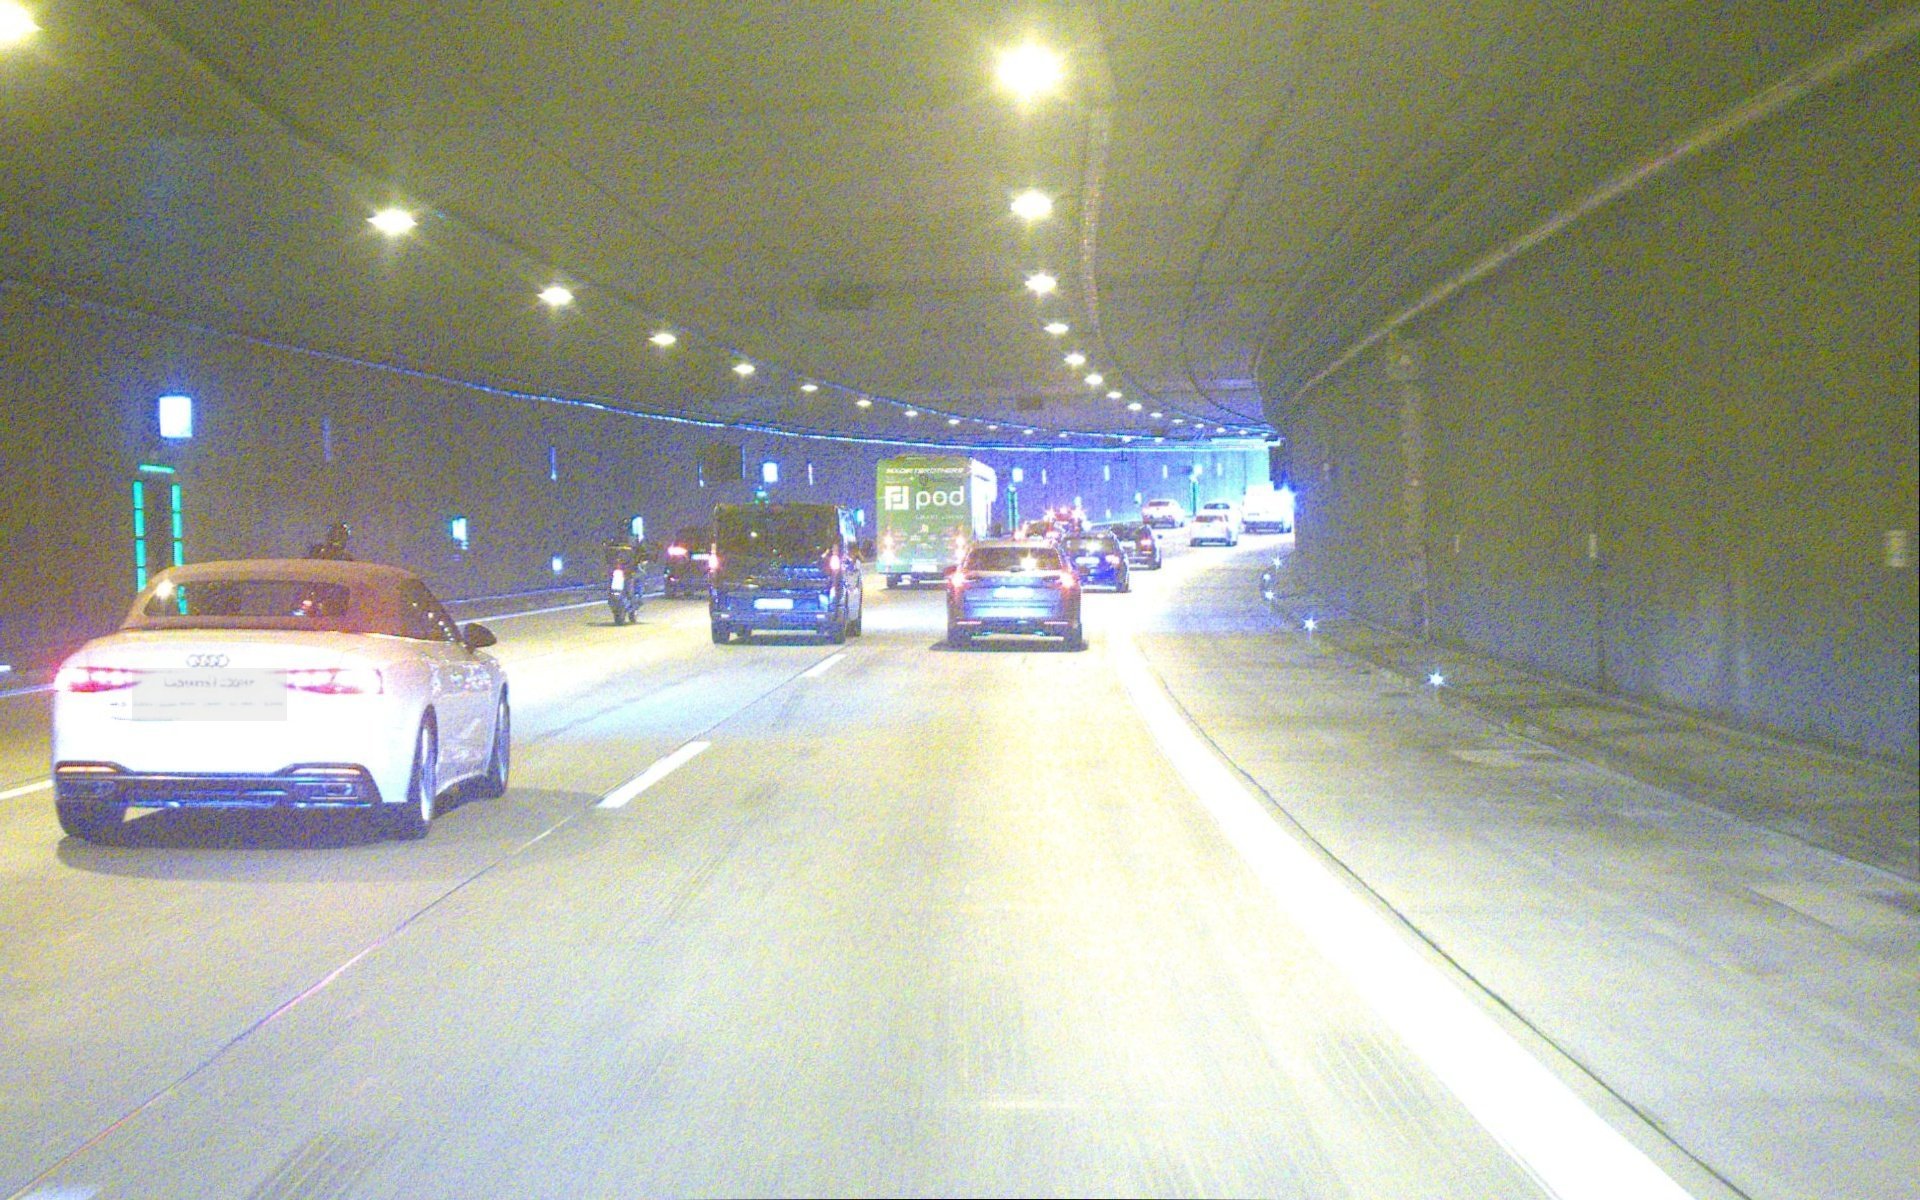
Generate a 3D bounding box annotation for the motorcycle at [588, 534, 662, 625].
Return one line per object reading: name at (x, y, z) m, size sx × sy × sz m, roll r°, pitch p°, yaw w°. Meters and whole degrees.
motorcycle at (-5.446, -0.326, 56.034) m, size 0.926 × 1.429 × 2.964 m, roll 1°, pitch 0°, yaw -1°

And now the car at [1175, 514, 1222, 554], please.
car at (10.191, -2.806, 147.002) m, size 1.931 × 1.637 × 3.999 m, roll 1°, pitch 0°, yaw 3°

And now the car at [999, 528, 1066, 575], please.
car at (2.610, -1.741, 123.165) m, size 1.994 × 1.626 × 3.999 m, roll 1°, pitch 1°, yaw 7°

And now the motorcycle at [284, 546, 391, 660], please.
motorcycle at (-7.255, 0.029, 40.166) m, size 0.683 × 1.292 × 2.398 m, roll 0°, pitch 0°, yaw 3°

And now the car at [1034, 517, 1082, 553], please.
car at (4.449, -2.940, 155.813) m, size 1.931 × 1.637 × 3.999 m, roll 0°, pitch 1°, yaw 5°

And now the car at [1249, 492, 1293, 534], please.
car at (15.787, -4.390, 174.392) m, size 1.994 × 2.007 × 3.999 m, roll 0°, pitch 0°, yaw 8°

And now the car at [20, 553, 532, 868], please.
car at (-3.510, 0.482, 18.591) m, size 1.702 × 1.414 × 5.060 m, roll 0°, pitch 1°, yaw 1°

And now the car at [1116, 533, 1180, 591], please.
car at (5.907, -1.180, 108.137) m, size 1.950 × 1.766 × 3.999 m, roll 1°, pitch 0°, yaw 3°

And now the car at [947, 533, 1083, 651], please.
car at (0.792, -0.140, 46.975) m, size 1.742 × 1.459 × 3.871 m, roll 0°, pitch 2°, yaw 3°

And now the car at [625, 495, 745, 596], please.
car at (-5.643, -1.125, 70.981) m, size 1.993 × 2.007 × 4.000 m, roll 0°, pitch 1°, yaw 2°

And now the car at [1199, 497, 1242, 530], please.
car at (13.841, -4.592, 182.553) m, size 1.994 × 1.626 × 3.999 m, roll 0°, pitch 0°, yaw 8°

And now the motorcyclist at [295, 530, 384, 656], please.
motorcyclist at (-7.247, -0.083, 40.158) m, size 0.777 × 1.447 × 1.069 m, roll 1°, pitch 0°, yaw 4°

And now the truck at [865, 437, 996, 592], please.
truck at (-0.664, -2.086, 85.427) m, size 3.039 × 3.660 × 7.393 m, roll 0°, pitch 1°, yaw 1°

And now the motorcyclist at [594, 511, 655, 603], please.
motorcyclist at (-5.466, -0.689, 56.063) m, size 0.806 × 1.443 × 1.865 m, roll 0°, pitch -1°, yaw 0°

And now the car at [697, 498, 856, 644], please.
car at (-2.538, -0.449, 48.416) m, size 1.910 × 1.937 × 3.871 m, roll 0°, pitch 2°, yaw 2°

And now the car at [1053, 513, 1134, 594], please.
car at (3.153, -1.104, 81.637) m, size 1.857 × 1.848 × 4.000 m, roll 0°, pitch 1°, yaw 2°

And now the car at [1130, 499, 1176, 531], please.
car at (10.494, -4.631, 187.010) m, size 1.931 × 1.637 × 3.998 m, roll 0°, pitch 0°, yaw 12°
